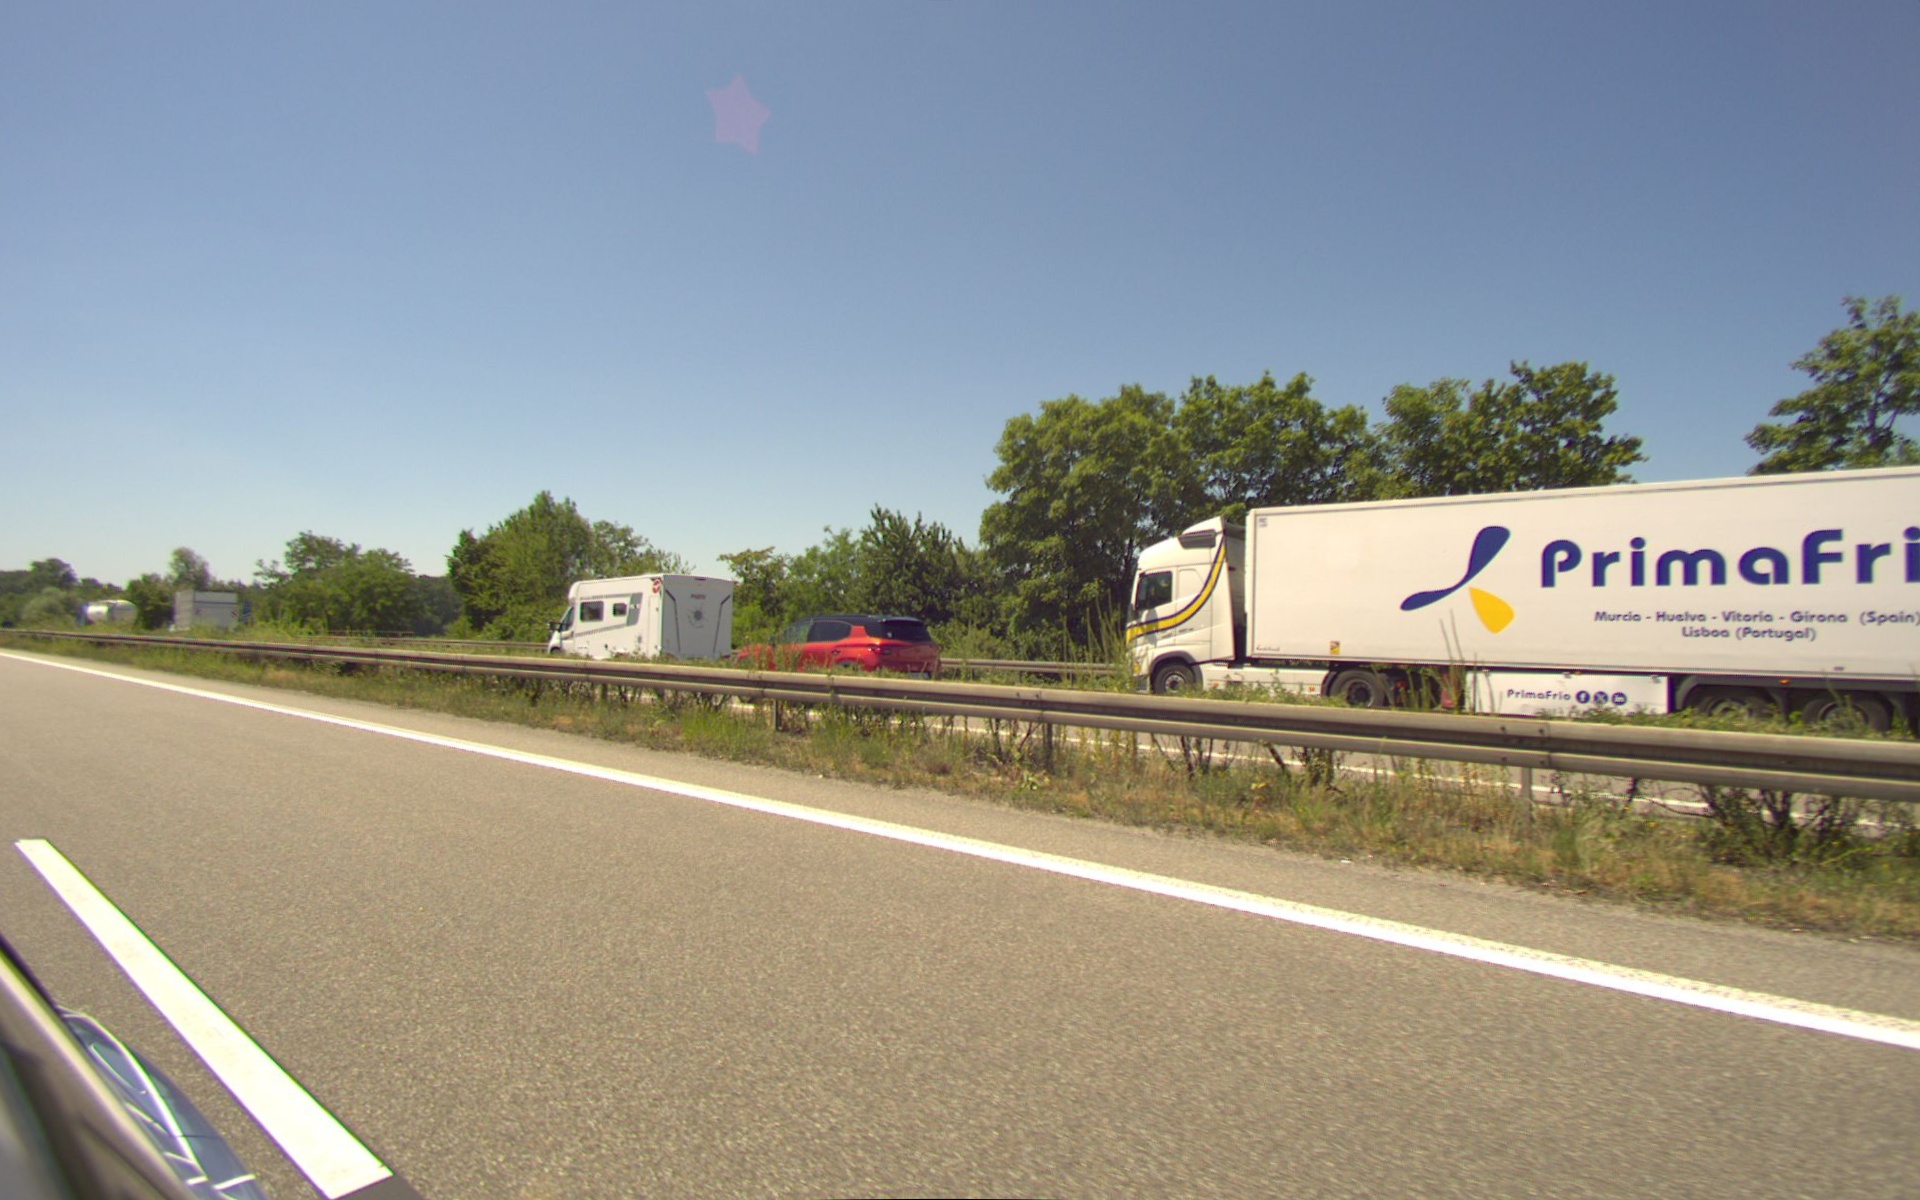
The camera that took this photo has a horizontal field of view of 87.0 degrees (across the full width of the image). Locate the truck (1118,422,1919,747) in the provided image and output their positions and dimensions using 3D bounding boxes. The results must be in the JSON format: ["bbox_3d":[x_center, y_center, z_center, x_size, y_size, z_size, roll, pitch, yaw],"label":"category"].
[{"bbox_3d":[10.999,-0.057,17.546,17.182,4.411,3.182,-1,-5,41],"label":"truck"}]

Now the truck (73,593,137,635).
[{"bbox_3d":[-88.724,1.486,104.878,15.930,4.083,2.700,-1,-2,42],"label":"truck"}]

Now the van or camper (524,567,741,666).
[{"bbox_3d":[-9.855,0.518,29.909,7.805,2.579,2.442,-1,-2,42],"label":"van or camper"}]

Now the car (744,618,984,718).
[{"bbox_3d":[-1.738,1.094,17.621,3.998,1.530,1.973,-1,-2,41],"label":"car"}]

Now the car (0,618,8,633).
[{"bbox_3d":[-123.570,3.278,129.139,5.780,1.932,2.387,-2,-3,41],"label":"car"}]

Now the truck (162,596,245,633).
[{"bbox_3d":[-45.717,0.928,61.109,7.136,2.083,2.699,-1,-2,42],"label":"truck"}]
